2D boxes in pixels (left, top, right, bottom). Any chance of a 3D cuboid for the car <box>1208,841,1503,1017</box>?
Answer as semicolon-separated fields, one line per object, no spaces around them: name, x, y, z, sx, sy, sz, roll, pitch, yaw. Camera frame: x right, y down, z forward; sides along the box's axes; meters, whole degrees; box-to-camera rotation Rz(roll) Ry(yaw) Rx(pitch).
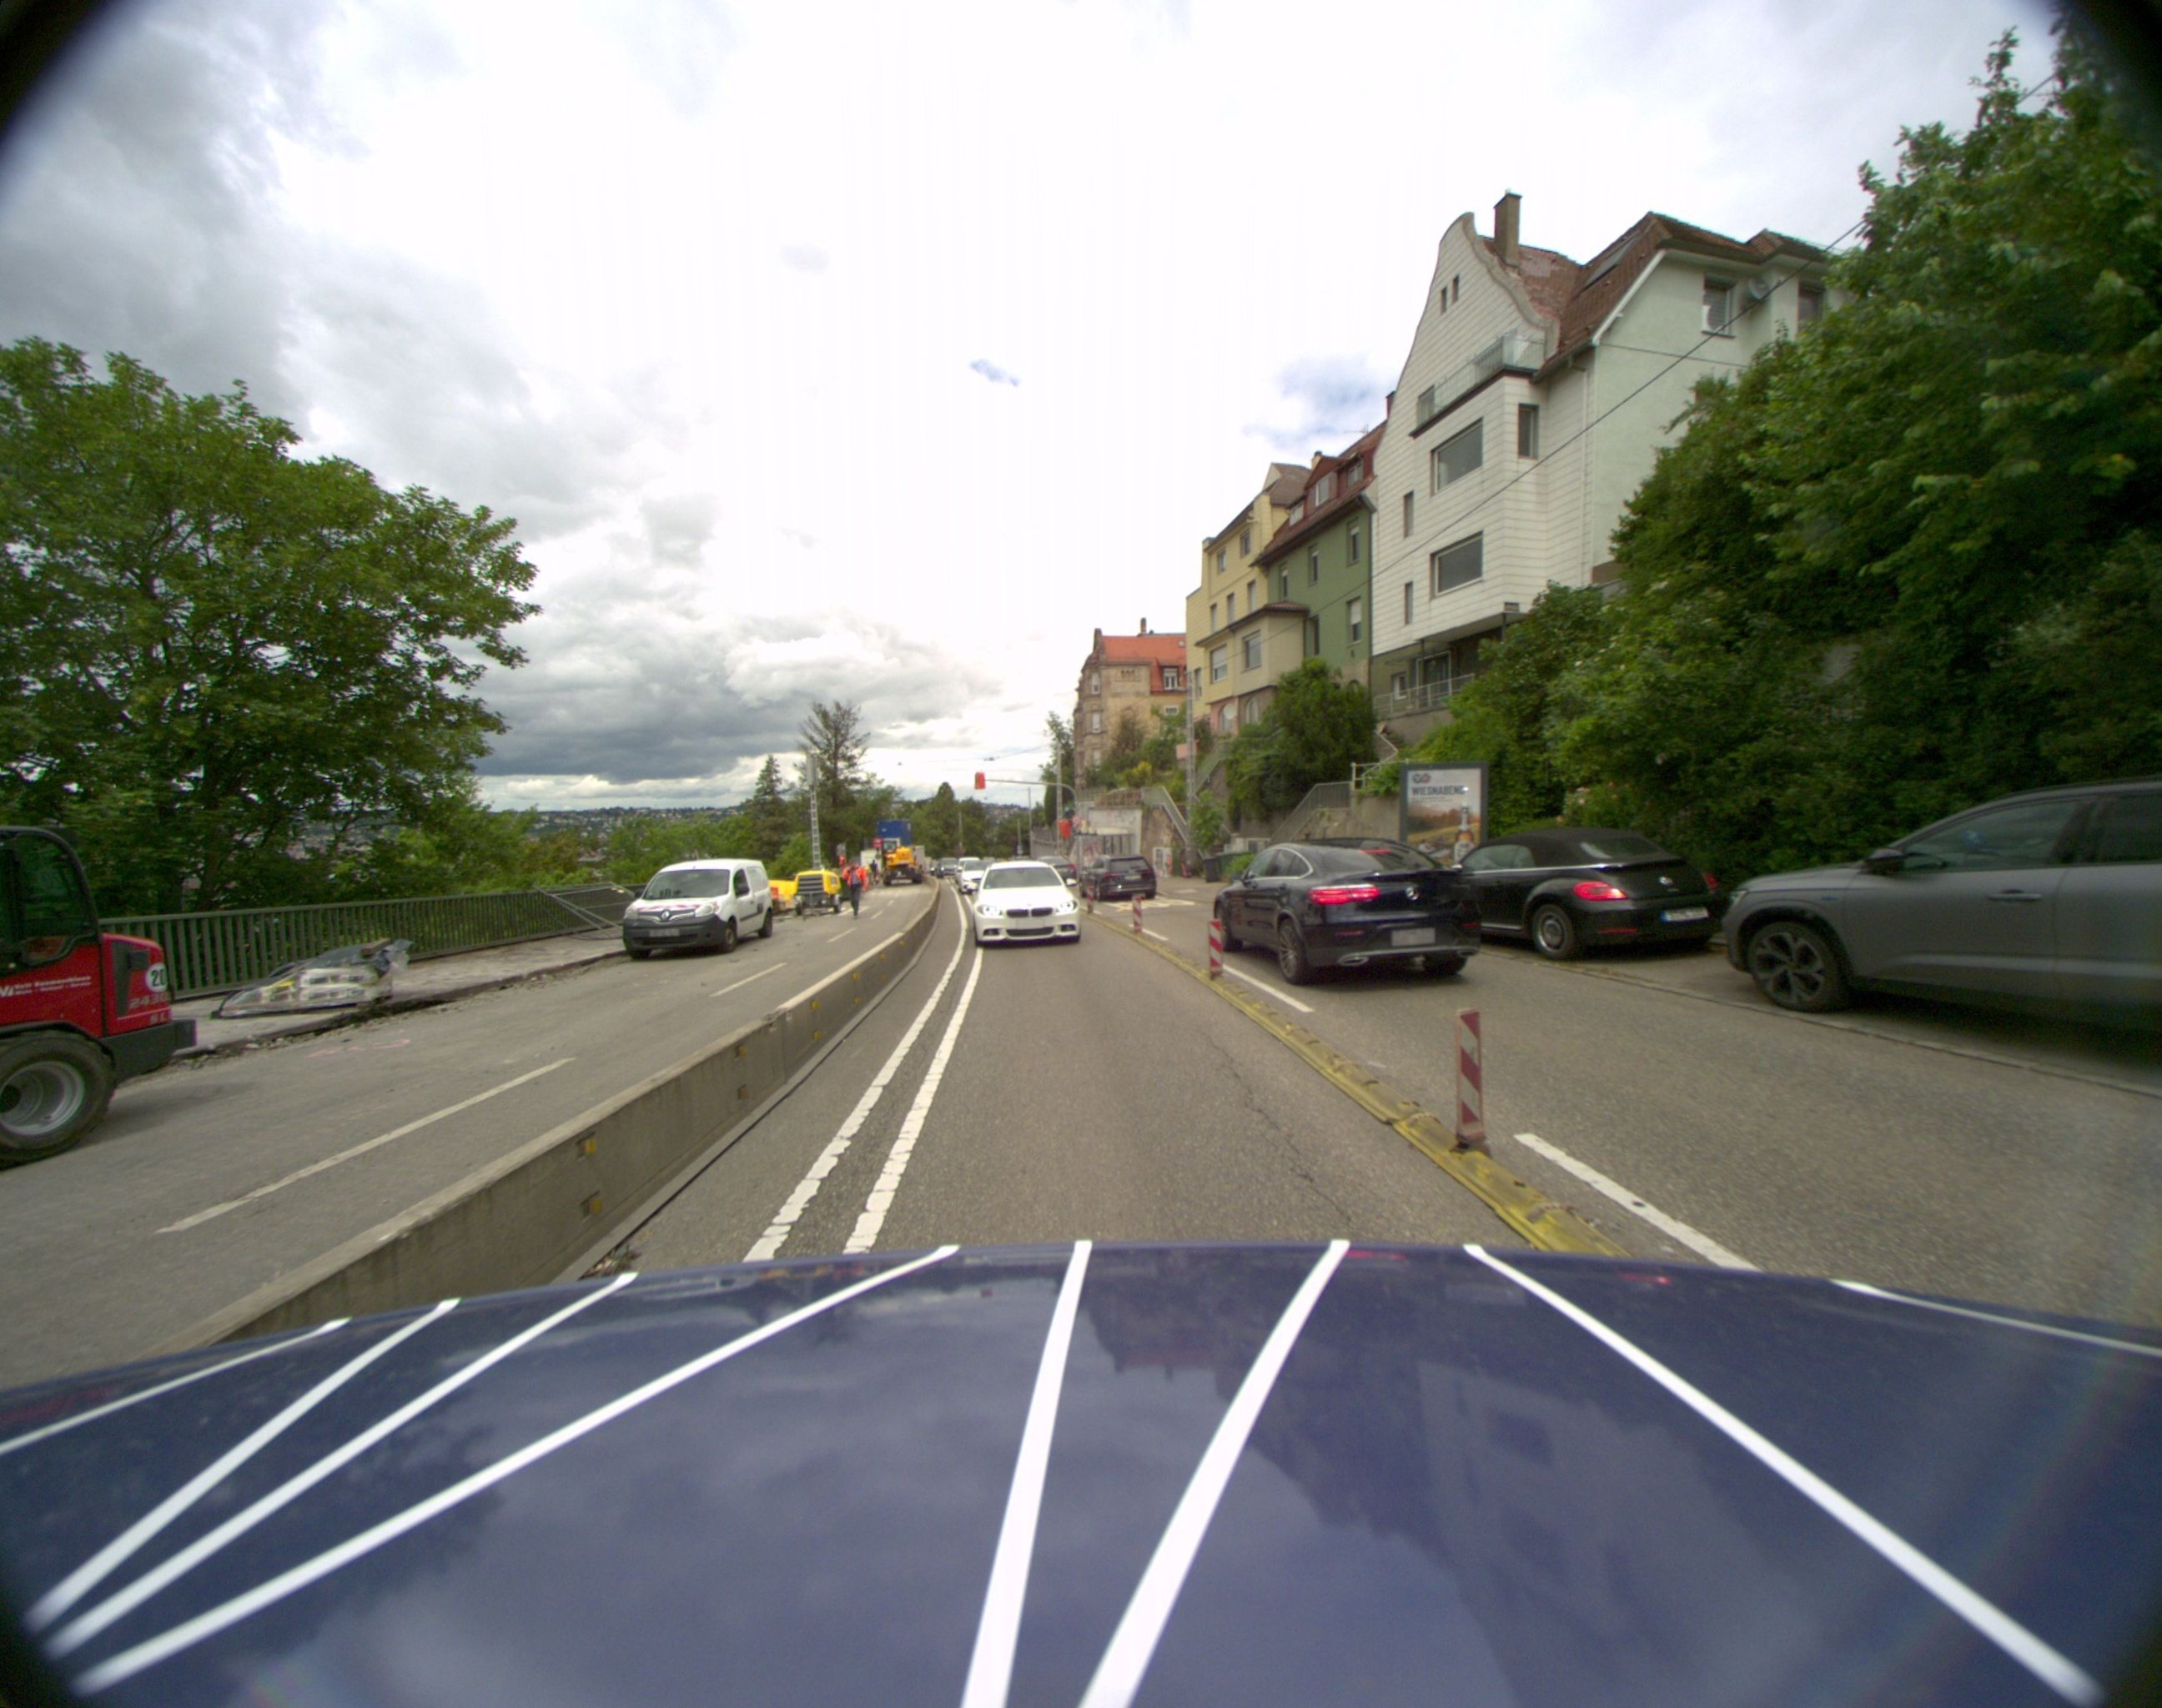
car;2.965;0.710;9.304;1.772;1.558;4.228;-3;0;-4

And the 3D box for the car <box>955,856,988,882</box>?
car;-6.933;0.904;47.777;1.794;1.542;4.241;-1;0;-11

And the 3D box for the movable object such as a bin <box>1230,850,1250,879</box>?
movable object such as a bin;5.913;0.401;28.299;0.469;1.047;0.623;-4;1;-12

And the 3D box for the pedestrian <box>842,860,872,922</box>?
pedestrian;-6.317;1.028;21.443;0.647;1.692;0.849;-4;1;-12

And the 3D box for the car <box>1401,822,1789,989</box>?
car;5.964;0.497;9.519;1.799;1.501;3.997;-5;1;-6

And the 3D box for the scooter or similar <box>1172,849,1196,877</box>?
scooter or similar;4.529;0.401;33.480;0.461;1.198;1.433;-5;1;-14

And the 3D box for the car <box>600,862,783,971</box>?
car;-7.546;1.097;15.235;1.838;1.769;4.265;-2;0;-7

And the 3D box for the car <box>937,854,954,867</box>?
car;-15.629;0.749;87.749;1.800;1.501;3.996;0;1;-8

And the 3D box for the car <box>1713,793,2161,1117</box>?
car;6.258;0.471;4.295;1.691;1.596;4.185;-5;1;-2

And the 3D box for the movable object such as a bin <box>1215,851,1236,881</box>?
movable object such as a bin;5.323;0.442;27.977;0.469;1.047;0.623;-4;1;-12

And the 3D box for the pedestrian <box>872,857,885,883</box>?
pedestrian;-14.186;1.095;53.233;0.692;1.784;0.539;-3;0;-24

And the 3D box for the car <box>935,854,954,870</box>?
car;-13.626;0.816;75.607;1.800;1.501;3.995;0;1;-11

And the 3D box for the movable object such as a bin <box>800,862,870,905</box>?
movable object such as a bin;-10.933;1.220;34.278;2.382;1.552;7.090;-3;1;-13

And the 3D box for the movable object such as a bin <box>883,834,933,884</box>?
movable object such as a bin;-11.994;0.328;52.242;2.822;3.053;7.812;-3;0;-16

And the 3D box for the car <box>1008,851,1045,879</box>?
car;-3.487;0.654;48.137;1.821;1.613;3.815;-4;1;-10

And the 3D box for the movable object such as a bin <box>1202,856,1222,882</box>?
movable object such as a bin;4.803;0.538;27.880;0.469;0.929;0.623;-4;1;-12

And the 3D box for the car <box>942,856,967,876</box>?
car;-10.221;0.941;61.342;1.801;1.501;3.995;0;1;-12

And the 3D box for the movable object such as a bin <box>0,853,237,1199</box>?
movable object such as a bin;-6.869;0.996;3.350;1.706;1.931;4.163;-3;0;-4

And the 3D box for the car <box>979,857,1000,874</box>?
car;-9.358;1.190;77.521;1.732;1.411;3.819;-4;-2;-11

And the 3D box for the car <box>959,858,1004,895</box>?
car;-4.439;0.940;33.572;1.793;1.472;4.241;-2;0;-8

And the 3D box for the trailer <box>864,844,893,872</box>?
trailer;-19.367;0.375;72.849;2.113;2.535;5.115;0;0;-8

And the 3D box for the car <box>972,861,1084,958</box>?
car;-1.164;0.933;14.642;1.793;1.472;4.241;-2;0;-8

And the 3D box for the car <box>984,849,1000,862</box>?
car;-10.920;0.176;93.355;1.847;1.590;4.261;-2;0;-5

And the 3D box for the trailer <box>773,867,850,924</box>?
trailer;-8.180;1.203;23.306;1.292;1.466;3.632;-3;0;-5

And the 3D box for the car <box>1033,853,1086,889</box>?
car;-1.100;0.747;36.221;1.801;1.473;4.324;-4;1;-10

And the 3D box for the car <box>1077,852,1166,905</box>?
car;1.194;0.718;24.469;1.801;1.438;4.358;-4;1;-10
